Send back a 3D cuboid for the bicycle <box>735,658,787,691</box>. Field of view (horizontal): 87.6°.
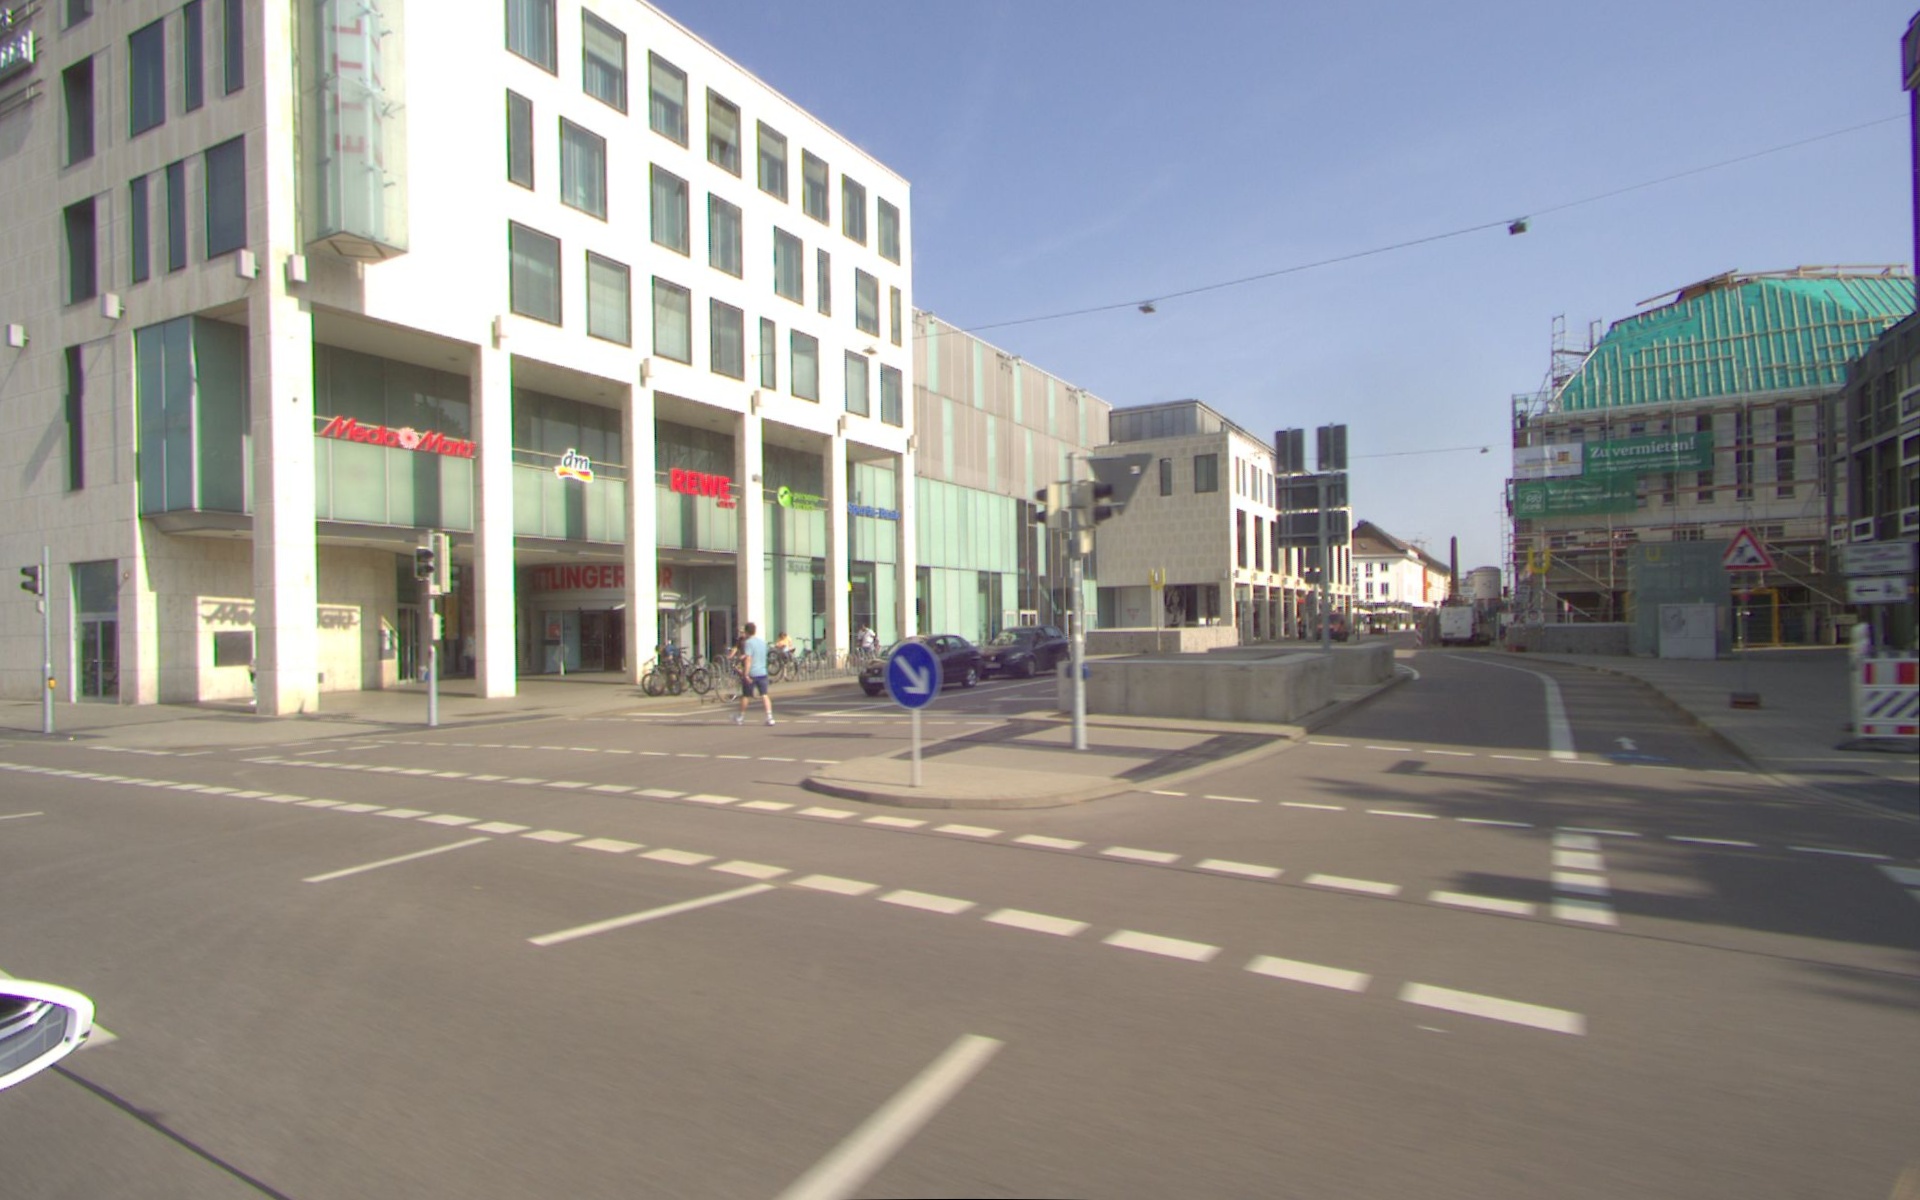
[{"bbox_3d":[-6.112,2.269,30.740,1.832,0.969,0.457,-2,-2,36],"label":"bicycle"}]

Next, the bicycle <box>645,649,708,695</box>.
[{"bbox_3d":[-7.765,1.967,27.441,1.764,1.214,0.500,-2,-1,26],"label":"bicycle"}]

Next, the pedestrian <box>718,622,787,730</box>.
[{"bbox_3d":[-3.465,1.244,16.714,0.976,1.733,0.641,-1,-1,35],"label":"pedestrian"}]

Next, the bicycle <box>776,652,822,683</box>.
[{"bbox_3d":[-5.185,2.153,32.201,1.648,0.969,0.457,-2,-2,36],"label":"bicycle"}]

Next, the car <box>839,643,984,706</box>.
[{"bbox_3d":[-1.148,1.842,25.471,1.850,1.383,3.887,-3,-2,31],"label":"car"}]

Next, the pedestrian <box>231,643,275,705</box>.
[{"bbox_3d":[-17.650,1.841,25.013,0.595,1.506,0.707,-1,-1,29],"label":"pedestrian"}]

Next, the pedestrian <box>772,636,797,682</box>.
[{"bbox_3d":[-5.804,1.934,33.078,0.724,1.504,0.602,-1,-1,-4],"label":"pedestrian"}]

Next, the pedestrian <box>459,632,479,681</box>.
[{"bbox_3d":[-17.408,1.993,35.527,0.496,1.700,0.455,-1,-1,-8],"label":"pedestrian"}]

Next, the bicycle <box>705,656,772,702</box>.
[{"bbox_3d":[-5.408,1.917,24.578,0.602,1.030,1.801,-1,-2,27],"label":"bicycle"}]

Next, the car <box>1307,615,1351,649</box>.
[{"bbox_3d":[28.713,2.548,77.797,2.389,2.439,4.990,-2,-4,29],"label":"car"}]

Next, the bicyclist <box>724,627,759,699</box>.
[{"bbox_3d":[-5.379,1.539,24.652,0.573,1.760,0.634,-1,-1,27],"label":"bicyclist"}]

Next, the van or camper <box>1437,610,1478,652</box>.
[{"bbox_3d":[30.340,1.899,60.995,1.970,2.440,5.122,-1,-1,29],"label":"van or camper"}]

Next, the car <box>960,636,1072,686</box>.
[{"bbox_3d":[1.795,1.839,30.805,1.852,1.420,3.895,-2,-2,31],"label":"car"}]

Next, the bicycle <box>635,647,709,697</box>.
[{"bbox_3d":[-7.665,1.904,26.610,2.039,1.253,0.612,-2,-1,29],"label":"bicycle"}]

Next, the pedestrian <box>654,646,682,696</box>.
[{"bbox_3d":[-8.198,1.993,28.108,0.538,1.373,0.512,-1,-1,20],"label":"pedestrian"}]

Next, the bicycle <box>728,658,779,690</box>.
[{"bbox_3d":[-6.535,2.330,31.687,1.832,0.969,0.457,-2,-2,36],"label":"bicycle"}]
